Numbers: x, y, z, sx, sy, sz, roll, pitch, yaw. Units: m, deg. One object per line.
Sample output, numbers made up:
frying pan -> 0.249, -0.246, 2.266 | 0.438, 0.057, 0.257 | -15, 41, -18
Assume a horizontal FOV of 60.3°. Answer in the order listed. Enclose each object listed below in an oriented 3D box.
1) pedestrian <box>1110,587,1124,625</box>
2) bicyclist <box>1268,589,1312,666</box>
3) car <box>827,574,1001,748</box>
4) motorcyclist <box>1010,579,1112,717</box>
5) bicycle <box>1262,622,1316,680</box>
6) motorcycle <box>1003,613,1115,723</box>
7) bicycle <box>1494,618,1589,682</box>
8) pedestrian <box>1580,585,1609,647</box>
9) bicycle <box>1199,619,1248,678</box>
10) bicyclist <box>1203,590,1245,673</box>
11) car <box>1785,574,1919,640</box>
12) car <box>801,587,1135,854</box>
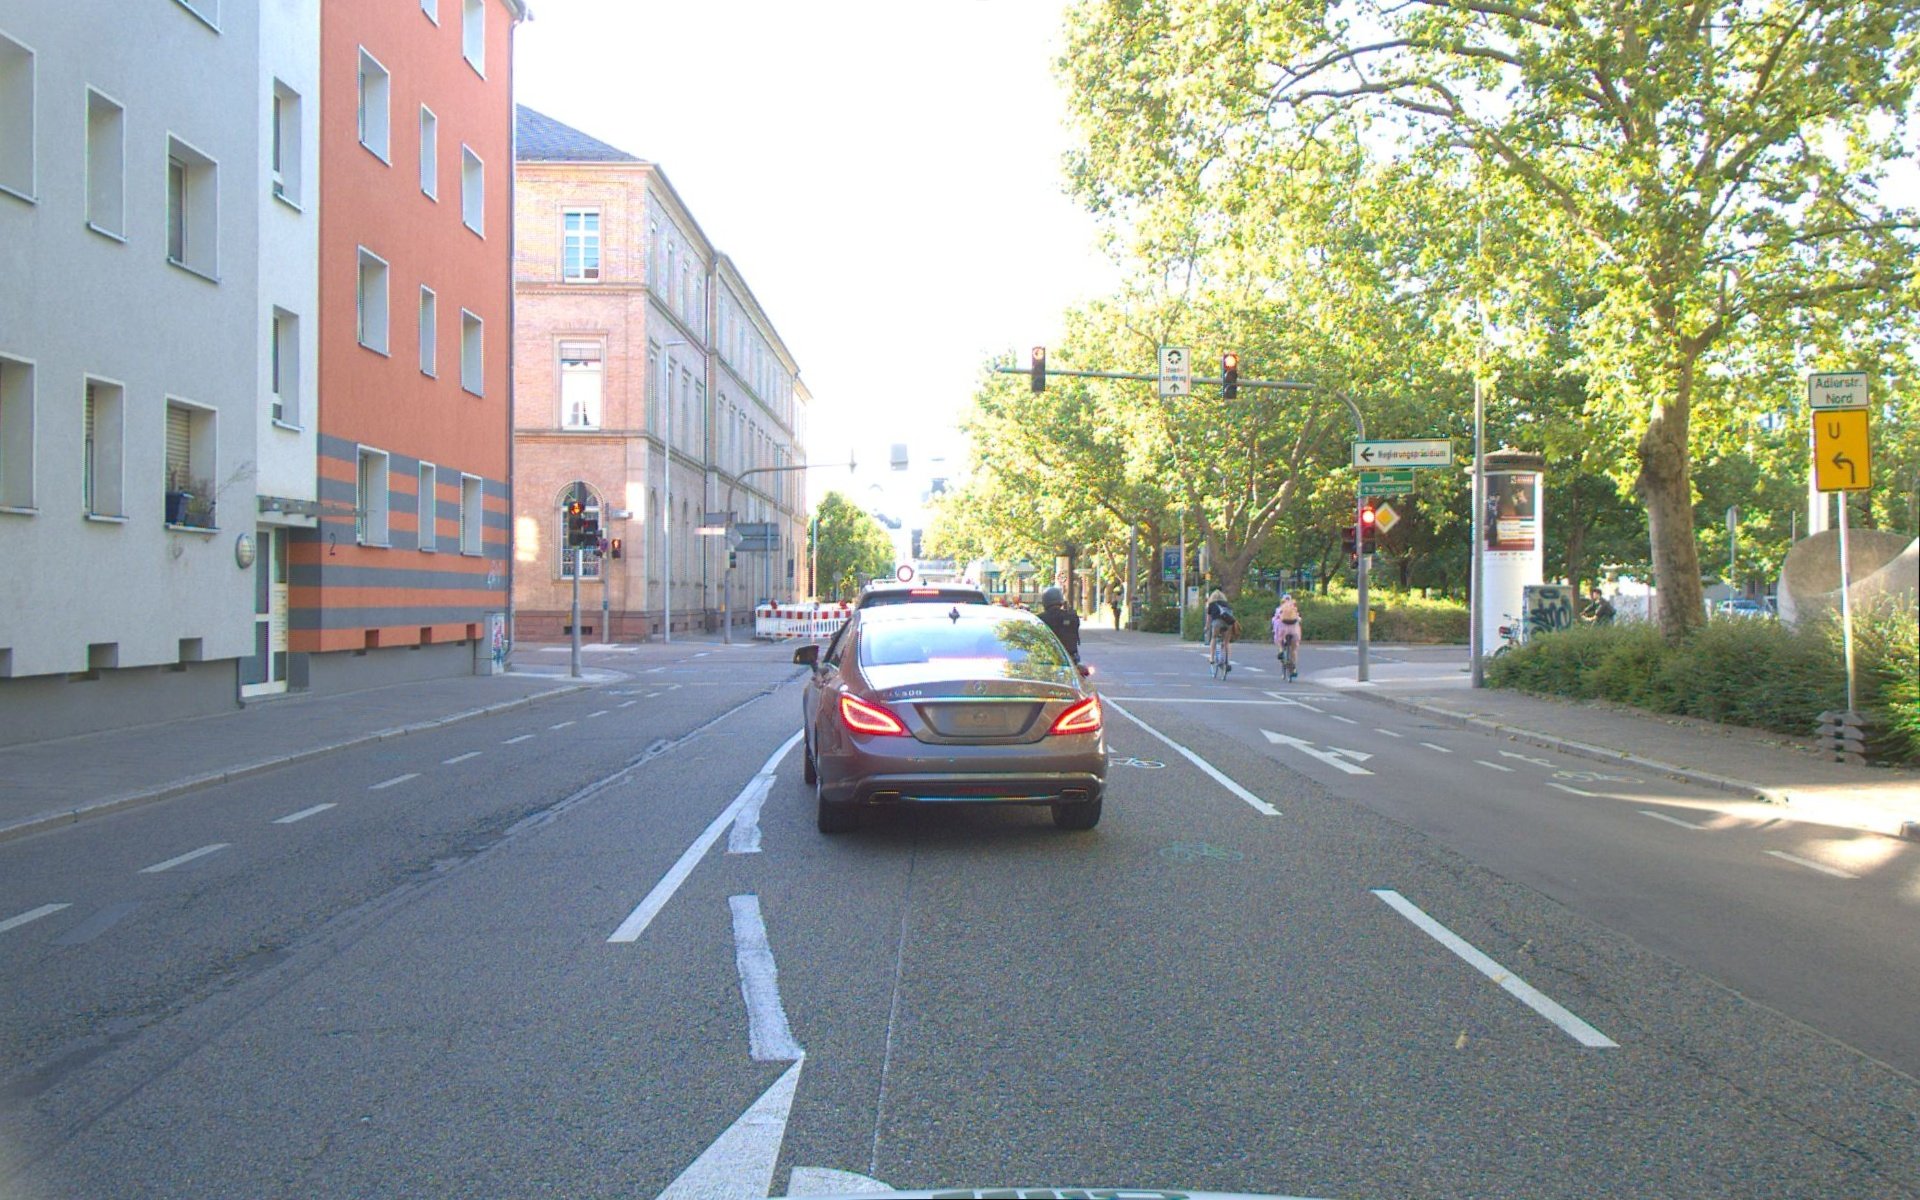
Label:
pedestrian -> 7.005, 0.273, 73.712 | 0.548, 1.707, 0.564 | 0, 0, -1
bicyclist -> 6.233, 0.510, 31.290 | 0.588, 1.426, 0.931 | 2, 0, -1
car -> -0.499, 0.581, 17.646 | 1.647, 1.653, 3.839 | 0, 0, -2
motorcyclist -> 1.222, 0.566, 20.302 | 1.091, 1.641, 1.201 | 0, 0, -5
bicycle -> 6.215, 0.954, 31.313 | 0.588, 1.002, 1.881 | 2, 0, -1
motorcycle -> 1.168, 0.788, 20.205 | 0.987, 1.225, 2.662 | 0, 0, -5
bicycle -> 9.696, 0.830, 27.601 | 1.387, 1.055, 0.538 | 0, 0, -5
pedestrian -> 18.605, 0.471, 48.523 | 0.607, 1.815, 0.630 | 0, 0, 1
bicycle -> 4.992, 0.901, 31.377 | 0.598, 1.044, 1.731 | 2, 0, -1
bicyclist -> 5.002, 0.586, 31.364 | 0.598, 1.542, 0.889 | 2, 0, -1
car -> 25.594, 0.187, 46.423 | 3.912, 1.815, 2.001 | 0, 0, 4
car -> -0.148, 0.679, 11.620 | 1.787, 1.502, 4.346 | 0, 0, -7
